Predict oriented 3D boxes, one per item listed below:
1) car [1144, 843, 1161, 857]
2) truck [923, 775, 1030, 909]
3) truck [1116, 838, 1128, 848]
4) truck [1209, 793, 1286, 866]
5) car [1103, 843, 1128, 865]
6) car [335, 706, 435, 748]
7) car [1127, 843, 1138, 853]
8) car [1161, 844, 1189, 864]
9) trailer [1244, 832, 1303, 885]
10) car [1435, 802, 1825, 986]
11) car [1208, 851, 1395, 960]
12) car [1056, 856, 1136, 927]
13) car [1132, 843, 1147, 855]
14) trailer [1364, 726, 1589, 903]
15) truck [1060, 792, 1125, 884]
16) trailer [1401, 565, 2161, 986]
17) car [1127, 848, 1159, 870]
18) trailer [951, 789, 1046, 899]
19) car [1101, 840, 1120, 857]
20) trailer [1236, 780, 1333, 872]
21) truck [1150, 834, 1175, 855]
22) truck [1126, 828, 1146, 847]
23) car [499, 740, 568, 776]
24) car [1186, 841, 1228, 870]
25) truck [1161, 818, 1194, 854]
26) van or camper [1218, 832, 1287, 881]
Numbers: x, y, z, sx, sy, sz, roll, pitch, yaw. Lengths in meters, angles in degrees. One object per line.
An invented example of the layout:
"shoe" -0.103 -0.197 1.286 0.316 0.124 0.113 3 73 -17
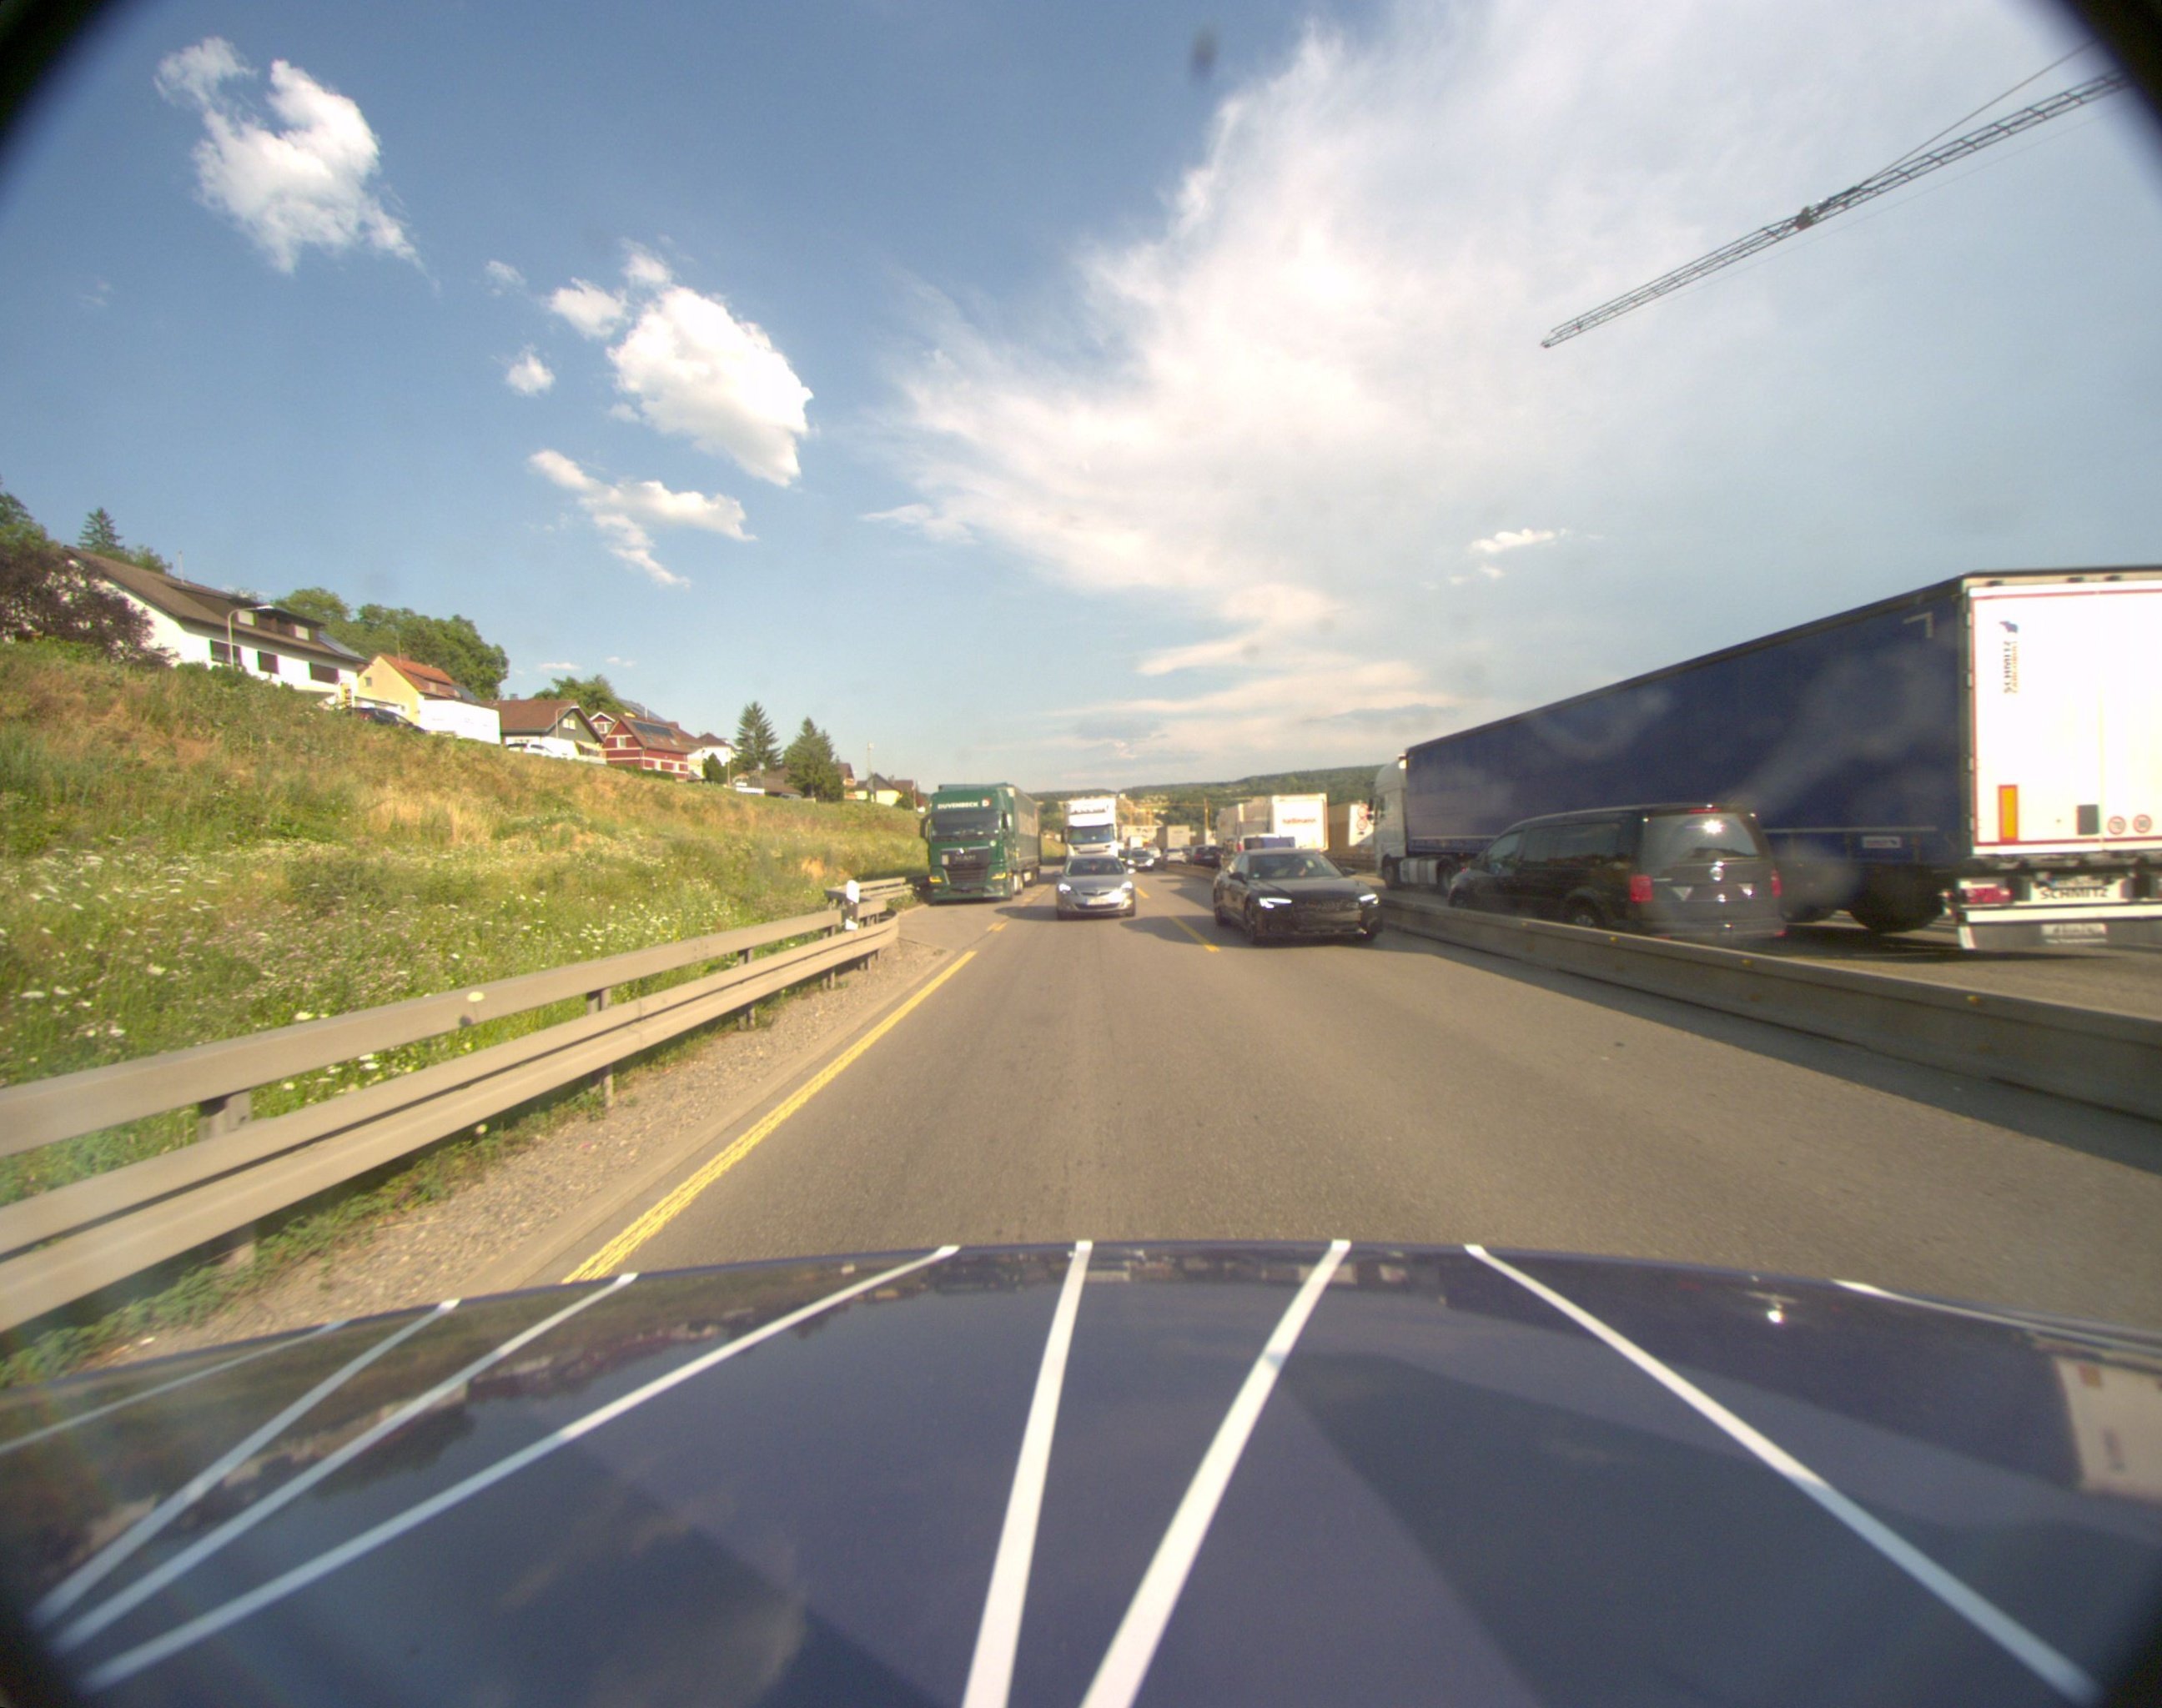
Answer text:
"car" 8.088 -0.470 85.931 1.624 1.448 3.232 -3 1 0
"truck" -3.404 -0.410 26.338 2.547 3.992 6.071 -2 1 1
"truck" 14.147 -3.763 263.475 3.458 3.476 10.733 -3 1 1
"truck" 10.710 -1.514 49.897 2.834 4.239 10.071 -3 1 1
"car" 2.937 -0.014 65.738 1.998 1.739 4.000 -2 0 1
"car" -37.669 -6.840 41.253 2.000 1.631 3.997 -2 1 -8
"car" 9.571 -1.178 141.829 1.691 1.825 3.630 -2 1 1
"car" 7.723 -0.031 62.720 1.889 1.499 3.999 -3 1 1
"trailer" 7.174 0.131 28.566 1.452 1.843 2.984 -3 1 1
"car" 6.823 0.386 10.305 1.785 1.832 4.852 -3 1 1
"car" 3.403 0.707 12.647 1.873 1.411 4.348 -2 1 1
"car" 0.347 0.798 17.891 1.671 1.425 3.524 -1 1 1
"car" 8.545 -0.788 111.500 1.808 1.652 4.000 -2 1 1
"trailer" 10.426 -0.959 20.902 2.932 4.013 6.222 -3 1 1
"truck" 0.640 -0.795 40.562 2.741 4.033 12.669 -2 1 1
"trailer" 10.339 -0.867 14.256 2.932 4.013 13.772 -3 1 1
"car" 4.096 0.290 50.325 1.692 1.293 3.882 -3 1 -1
"trailer" -3.278 -0.455 33.732 2.554 3.911 12.077 -3 1 1
"car" 3.142 -0.541 81.327 1.918 1.746 4.000 -1 0 0
"trailer" 10.567 -1.382 40.478 2.834 4.258 8.734 -3 1 1
"truck" 11.442 -1.333 106.835 2.694 2.682 7.358 -2 1 1
"truck" 12.086 -3.626 168.149 3.876 3.766 9.141 -3 1 1
"car" -38.817 -6.804 53.983 1.999 2.002 3.998 -2 1 -3
"car" 7.591 0.065 46.129 1.861 1.565 3.999 -3 1 1
"truck" 11.456 -2.077 90.935 2.873 4.038 7.598 -2 1 1
"van or camper" 7.241 0.075 32.595 1.868 1.881 5.003 -3 1 1
